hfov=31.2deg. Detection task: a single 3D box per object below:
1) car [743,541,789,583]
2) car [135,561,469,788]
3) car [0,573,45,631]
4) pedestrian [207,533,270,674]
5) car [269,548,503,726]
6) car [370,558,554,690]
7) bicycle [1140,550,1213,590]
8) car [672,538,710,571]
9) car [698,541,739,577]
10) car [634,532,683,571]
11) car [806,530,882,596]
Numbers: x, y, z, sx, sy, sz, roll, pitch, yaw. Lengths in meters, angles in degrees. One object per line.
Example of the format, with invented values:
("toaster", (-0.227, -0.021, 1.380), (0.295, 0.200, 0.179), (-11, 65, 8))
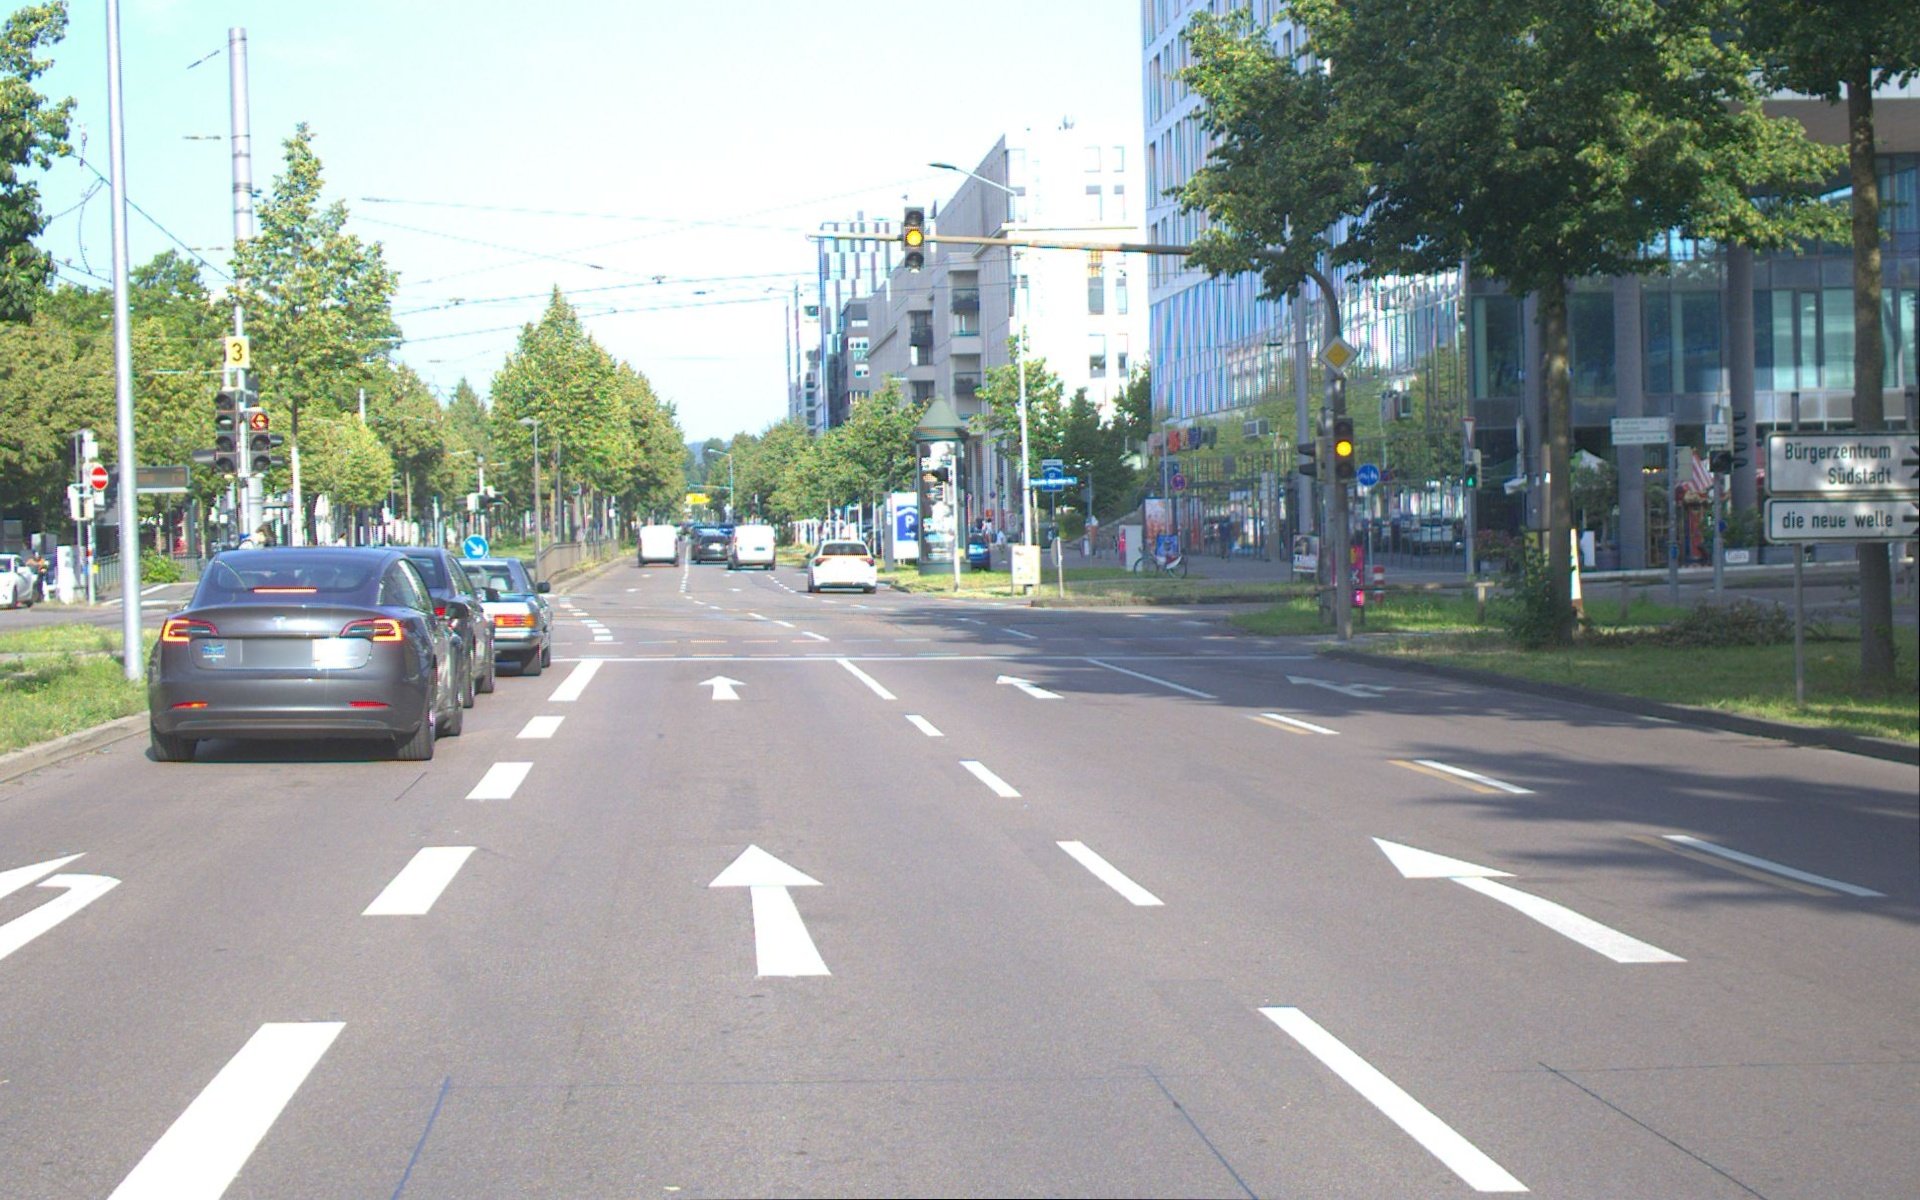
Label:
("car", (-8.046, -1.577, 142.379), (1.864, 1.678, 4.001), (0, 1, -4))
("car", (-4.471, 0.450, 23.940), (1.889, 1.381, 4.335), (0, 1, -6))
("car", (-25.795, 0.071, 91.548), (1.993, 1.499, 4.093), (-3, 1, -4))
("pedestrian", (-9.151, 0.040, 43.623), (0.699, 1.786, 0.635), (0, 1, -4))
("car", (-5.162, 0.281, 31.377), (1.786, 1.474, 4.354), (0, 1, -5))
("car", (-5.424, 0.224, 37.862), (1.763, 1.325, 4.401), (0, 1, -5))
("bicycle", (5.829, -0.804, 92.694), (1.877, 1.029, 0.772), (0, 1, 42))
("car", (-14.148, -2.415, 180.742), (1.923, 1.678, 4.001), (0, 1, -5))
("car", (-11.691, -1.979, 166.620), (1.923, 1.678, 4.001), (0, 1, -4))
("car", (-13.229, -2.134, 151.058), (2.014, 1.678, 4.001), (0, 1, -4))
("car", (-3.107, -0.998, 91.277), (1.864, 1.678, 4.001), (0, 1, -4))
